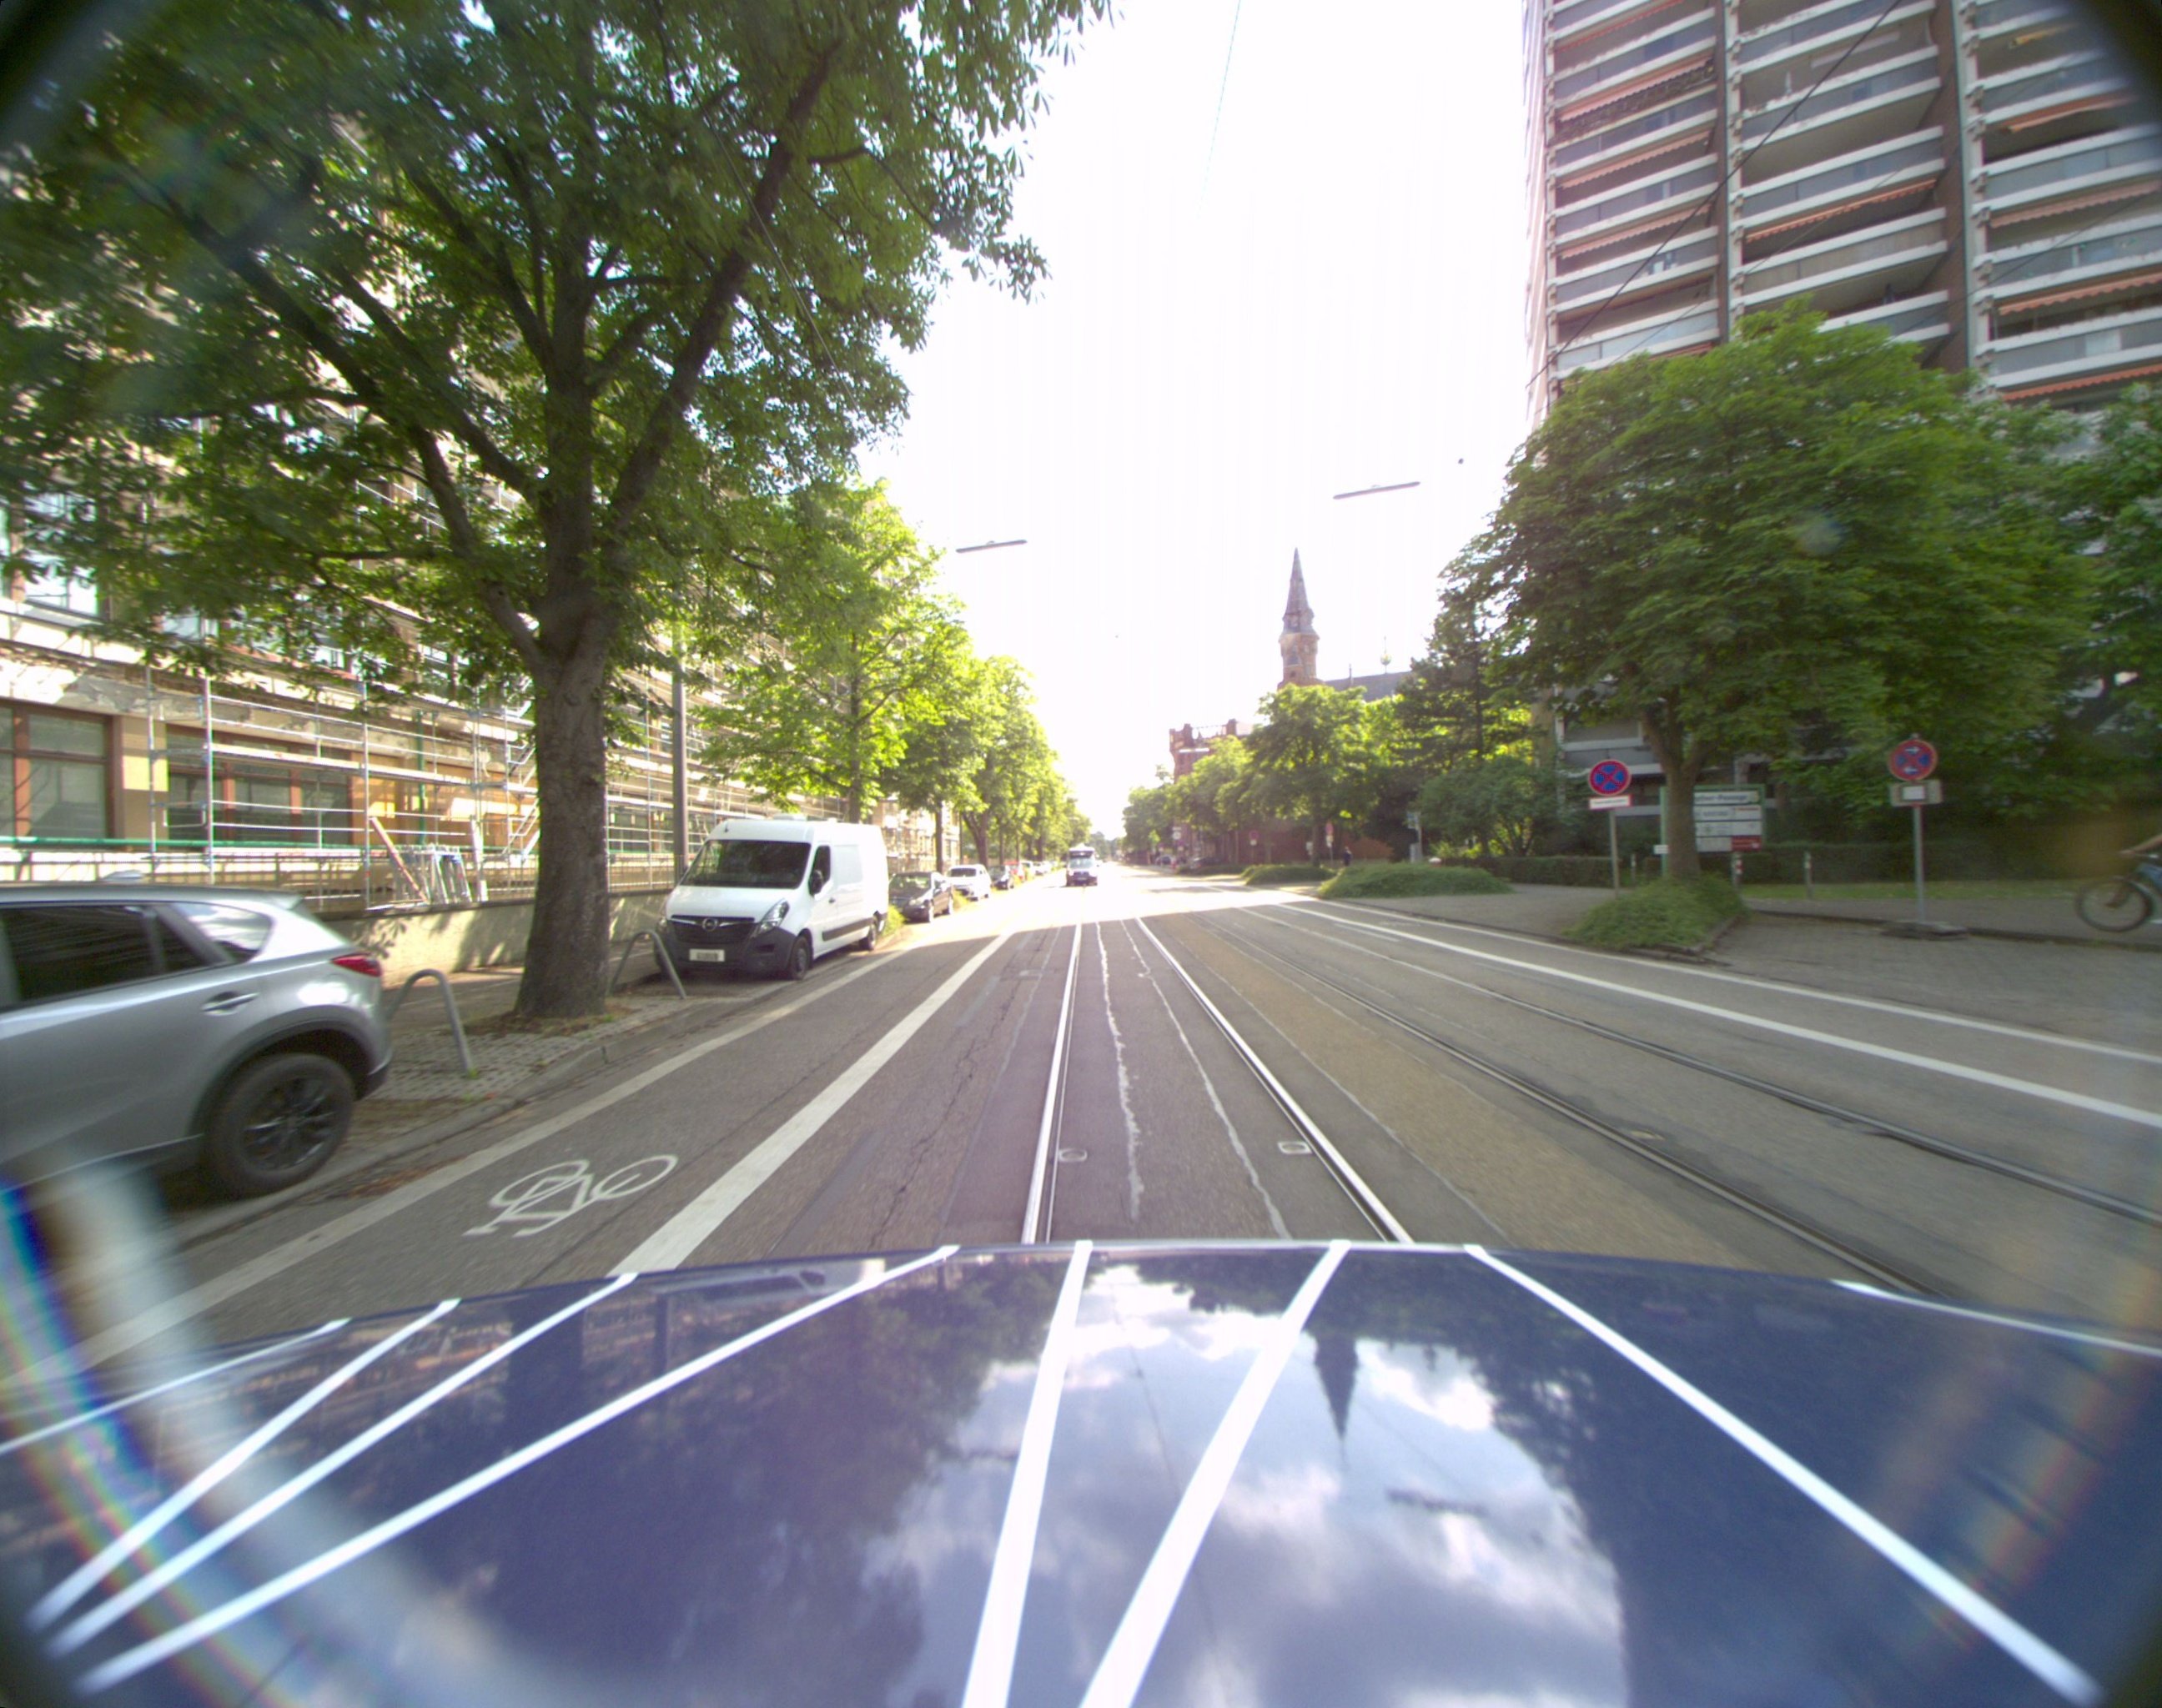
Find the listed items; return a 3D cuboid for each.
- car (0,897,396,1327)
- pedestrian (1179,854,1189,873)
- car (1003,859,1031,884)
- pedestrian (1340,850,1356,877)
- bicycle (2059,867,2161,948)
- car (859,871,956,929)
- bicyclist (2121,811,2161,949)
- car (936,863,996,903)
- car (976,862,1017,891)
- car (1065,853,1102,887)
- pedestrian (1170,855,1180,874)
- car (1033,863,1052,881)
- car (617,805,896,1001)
[{"bbox_3d":[-5.120,1.052,2.437,1.769,1.597,4.459,-1,-1,1],"label":"car"},{"bbox_3d":[11.230,0.983,82.820,0.905,2.002,1.057,-2,1,2],"label":"pedestrian"},{"bbox_3d":[-4.462,1.212,53.008,1.532,1.565,3.647,-2,1,1],"label":"car"},{"bbox_3d":[16.645,0.574,47.439,0.764,1.620,0.738,-2,1,10],"label":"pedestrian"},{"bbox_3d":[13.894,0.691,9.582,0.568,0.974,1.983,-2,1,1],"label":"bicycle"},{"bbox_3d":[-4.943,1.259,22.260,1.739,1.364,4.507,1,1,1],"label":"car"},{"bbox_3d":[13.874,0.311,9.474,0.725,1.730,0.781,-2,1,1],"label":"bicyclist"},{"bbox_3d":[-4.753,1.170,31.865,1.568,1.448,3.896,-2,1,5],"label":"car"},{"bbox_3d":[-4.650,1.236,42.197,1.737,1.390,3.630,-2,1,1],"label":"car"},{"bbox_3d":[0.116,0.871,43.324,1.945,1.763,4.837,-2,0,0],"label":"car"},{"bbox_3d":[10.258,1.104,82.843,0.904,2.002,1.057,-2,1,4],"label":"pedestrian"},{"bbox_3d":[-3.639,1.724,72.444,1.532,1.565,3.647,-2,1,1],"label":"car"},{"bbox_3d":[-5.038,0.627,13.045,2.128,2.552,5.919,1,1,1],"label":"car"}]
